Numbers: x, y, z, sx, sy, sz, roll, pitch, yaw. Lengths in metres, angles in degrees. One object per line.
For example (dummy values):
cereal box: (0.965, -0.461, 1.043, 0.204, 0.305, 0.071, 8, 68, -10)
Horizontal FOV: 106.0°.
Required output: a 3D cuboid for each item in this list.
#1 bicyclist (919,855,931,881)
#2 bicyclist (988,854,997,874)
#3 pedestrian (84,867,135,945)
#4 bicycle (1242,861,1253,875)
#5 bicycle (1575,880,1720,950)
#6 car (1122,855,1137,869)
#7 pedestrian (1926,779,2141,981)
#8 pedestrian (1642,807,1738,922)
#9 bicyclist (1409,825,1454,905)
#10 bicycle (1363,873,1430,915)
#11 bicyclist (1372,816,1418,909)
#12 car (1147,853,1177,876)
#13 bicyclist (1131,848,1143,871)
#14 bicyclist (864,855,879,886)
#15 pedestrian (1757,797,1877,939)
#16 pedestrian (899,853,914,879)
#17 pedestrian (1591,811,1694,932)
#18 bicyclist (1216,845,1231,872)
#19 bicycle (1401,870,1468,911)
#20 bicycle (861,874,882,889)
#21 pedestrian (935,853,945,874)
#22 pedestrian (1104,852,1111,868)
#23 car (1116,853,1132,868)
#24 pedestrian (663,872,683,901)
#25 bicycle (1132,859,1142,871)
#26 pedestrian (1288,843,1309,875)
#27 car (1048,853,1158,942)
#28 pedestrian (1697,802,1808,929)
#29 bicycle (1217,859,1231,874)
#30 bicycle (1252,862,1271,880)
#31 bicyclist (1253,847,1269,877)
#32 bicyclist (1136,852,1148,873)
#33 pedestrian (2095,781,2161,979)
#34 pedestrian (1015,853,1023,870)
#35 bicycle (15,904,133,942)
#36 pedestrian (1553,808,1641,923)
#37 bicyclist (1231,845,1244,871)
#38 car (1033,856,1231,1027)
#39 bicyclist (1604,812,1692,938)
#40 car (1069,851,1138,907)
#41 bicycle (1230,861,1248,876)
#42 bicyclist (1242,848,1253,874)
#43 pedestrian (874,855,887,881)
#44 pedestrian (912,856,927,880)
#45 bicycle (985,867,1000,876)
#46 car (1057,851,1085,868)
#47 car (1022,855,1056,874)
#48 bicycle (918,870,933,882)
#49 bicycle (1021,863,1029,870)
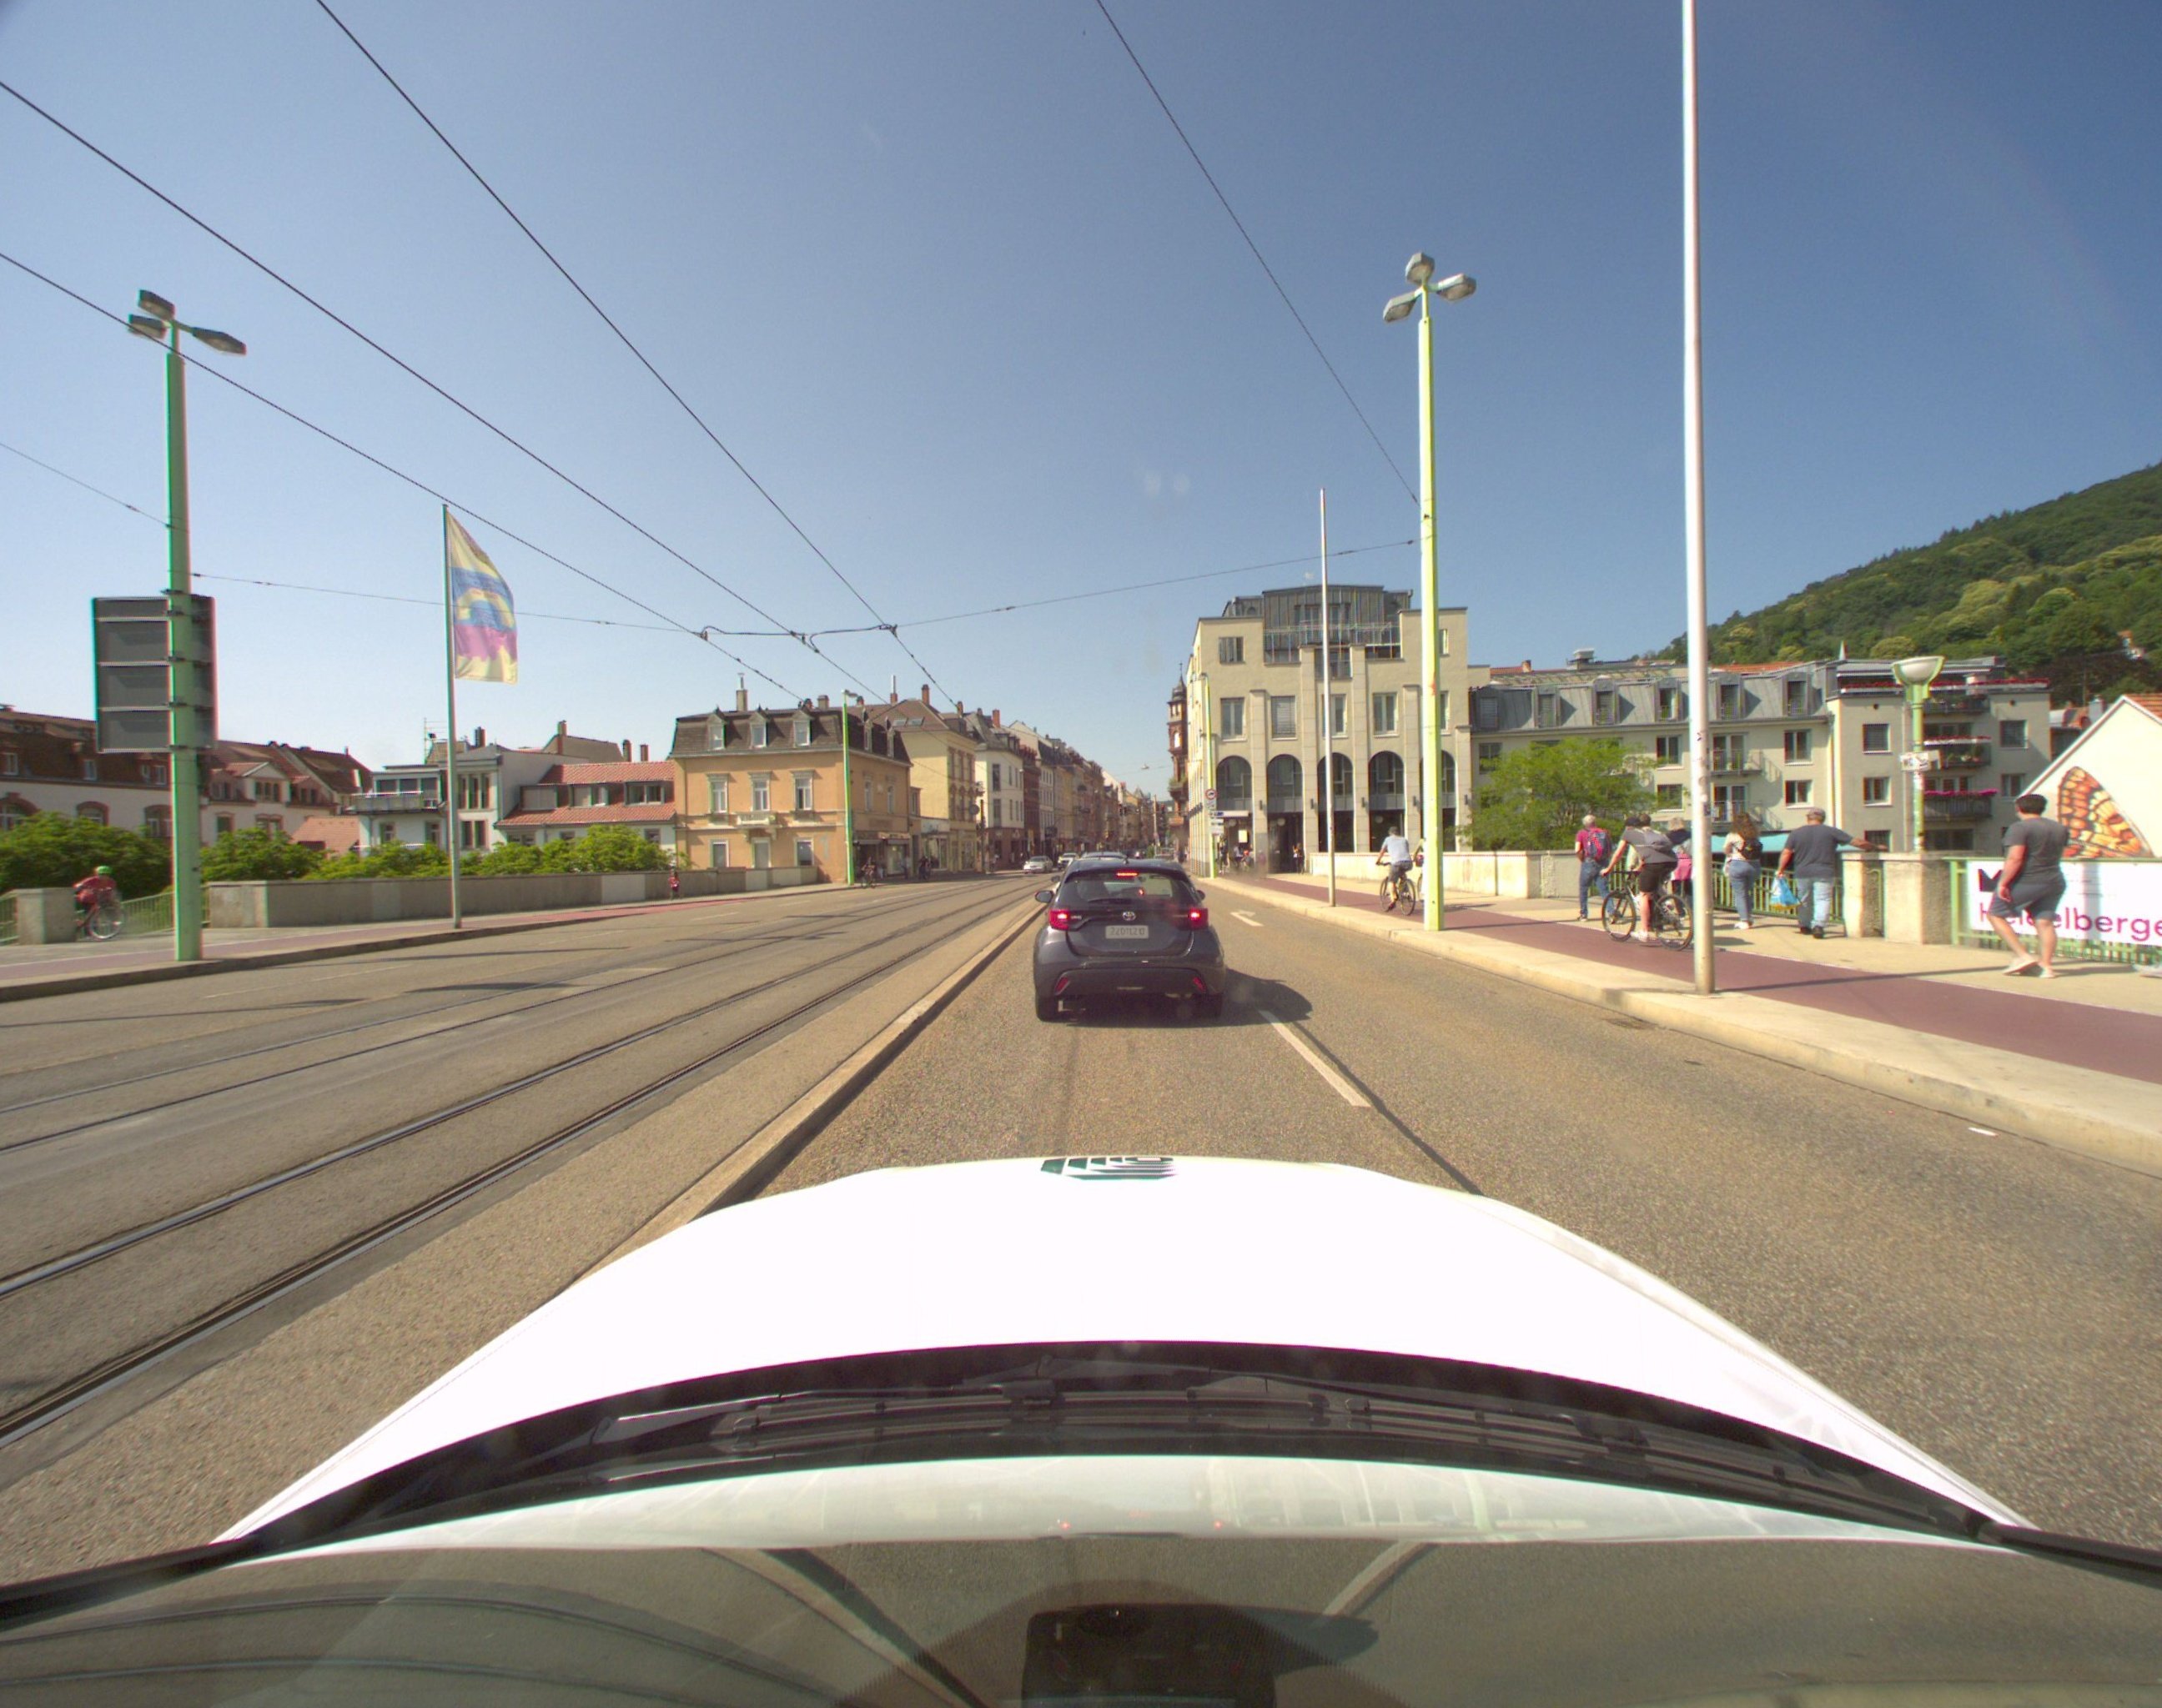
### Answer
bicyclist: (-10.116, 0.893, 52.876, 0.625, 1.650, 0.622, 0, 1, 2)
bicyclist: (-7.479, 0.833, 68.984, 0.623, 1.650, 0.623, 0, 1, 10)
pedestrian: (-20.924, 1.105, 17.544, 0.622, 1.632, 0.414, 1, 0, 8)
bicycle: (9.080, 0.763, 44.351, 0.415, 0.765, 0.962, -3, 0, 2)
bicycle: (7.366, 0.764, 10.701, 0.592, 0.765, 1.830, -2, 0, -1)
car: (7.550, 1.244, 126.260, 1.982, 2.013, 4.009, 3, 0, 9)
pedestrian: (8.814, 0.224, 7.595, 0.736, 1.718, 1.016, -3, 0, 1)
pedestrian: (9.970, 0.159, 13.363, 0.736, 1.777, 1.016, -3, 0, 1)
bicyclist: (7.499, 0.238, 17.429, 0.585, 1.650, 0.702, -2, 0, -1)
bicycle: (6.438, 0.796, 16.707, 0.592, 0.765, 1.866, -2, 0, -1)
bicyclist: (6.416, 0.169, 16.650, 0.585, 1.820, 0.702, -2, 0, -1)
car: (5.358, 0.687, 54.165, 1.699, 1.466, 4.327, 0, 0, 1)
bicyclist: (6.553, 0.654, 94.553, 1.221, 2.529, 1.107, 3, 0, 7)
bicyclist: (-11.352, 0.898, 44.140, 0.625, 1.650, 0.622, 0, 1, 2)
pedestrian: (9.833, 0.180, 10.945, 0.968, 1.777, 1.215, -3, 0, 34)
pedestrian: (-12.094, 0.801, 56.389, 0.733, 1.766, 0.787, 3, 0, 2)
pedestrian: (8.484, 0.250, 12.347, 0.752, 1.718, 1.073, -3, 0, 1)
bicyclist: (9.062, 0.277, 51.809, 0.699, 1.695, 0.925, -2, 0, 2)
bicycle: (7.524, 0.758, 17.423, 0.592, 0.765, 1.866, -2, 0, -1)
bicycle: (-11.341, 1.467, 44.170, 0.618, 0.716, 1.772, 0, 1, 2)
pedestrian: (-11.488, 0.775, 66.426, 0.646, 1.602, 0.566, 3, 2, 2)
pedestrian: (4.356, 0.915, 134.228, 1.047, 2.588, 1.502, 3, 0, 2)
car: (5.788, 0.871, 109.575, 1.983, 2.014, 4.006, 0, -1, 6)
pedestrian: (-16.244, 1.286, 32.444, 0.409, 1.146, 0.546, 3, 0, 10)
bicycle: (6.502, 1.257, 94.383, 1.107, 1.420, 3.011, 2, 0, 5)
pedestrian: (11.386, 0.245, 42.662, 0.736, 1.615, 1.016, 3, 0, 1)
car: (0.431, 0.747, 16.037, 1.890, 1.530, 4.001, 0, 0, 1)
pedestrian: (9.869, 0.161, 12.011, 0.736, 1.746, 1.016, -3, 0, 2)
bicycle: (9.084, 0.774, 51.793, 0.701, 0.882, 1.526, -2, 0, 2)
bicycle: (8.416, 0.773, 38.021, 0.512, 0.765, 1.661, -3, 0, 2)
bicyclist: (8.395, 0.373, 38.072, 0.532, 1.383, 0.669, -3, 0, 1)
bicyclist: (7.665, 1.108, 102.766, 1.219, 2.529, 1.109, 3, 0, 13)
pedestrian: (9.729, 0.211, 6.986, 0.736, 1.718, 1.016, -2, 0, 1)
pedestrian: (-6.641, 0.846, 87.228, 0.733, 1.766, 0.787, 3, 0, 2)
bicycle: (-21.047, 1.431, 17.028, 1.917, 0.716, 0.623, 0, 1, 7)
pedestrian: (8.516, 0.186, 13.486, 0.736, 1.802, 1.016, -3, 0, 1)
bicyclist: (8.954, 0.219, 46.451, 0.487, 1.466, 0.438, -3, 0, -38)
car: (0.482, 0.761, 8.885, 1.714, 1.473, 3.659, 0, 0, 1)
bicyclist: (7.342, 0.264, 10.568, 0.585, 1.559, 0.702, -2, 0, -1)
car: (0.668, 0.673, 24.309, 1.890, 1.530, 4.001, 0, 0, 1)
bicycle: (8.988, 0.828, 46.440, 0.420, 0.765, 0.951, -3, 0, -37)
bicyclist: (9.055, 0.370, 44.325, 0.421, 1.383, 0.443, -3, 0, 1)
pedestrian: (-12.816, 0.889, 52.066, 0.646, 1.602, 0.566, 3, 2, 2)
pedestrian: (-11.229, 0.956, 56.734, 0.758, 1.654, 0.712, 3, 0, 5)
bicycle: (-7.489, 1.475, 68.982, 0.616, 0.716, 2.051, 0, 1, 11)
car: (-1.000, 0.566, 82.179, 1.981, 1.586, 4.665, -2, 0, 10)
car: (-3.402, 0.858, 67.317, 1.720, 1.460, 4.387, -2, 0, 11)
bicycle: (-10.113, 1.424, 52.946, 0.618, 0.716, 1.732, 0, 1, 2)
bicycle: (-6.010, 1.353, 86.981, 0.618, 0.716, 1.771, 3, 0, 2)
